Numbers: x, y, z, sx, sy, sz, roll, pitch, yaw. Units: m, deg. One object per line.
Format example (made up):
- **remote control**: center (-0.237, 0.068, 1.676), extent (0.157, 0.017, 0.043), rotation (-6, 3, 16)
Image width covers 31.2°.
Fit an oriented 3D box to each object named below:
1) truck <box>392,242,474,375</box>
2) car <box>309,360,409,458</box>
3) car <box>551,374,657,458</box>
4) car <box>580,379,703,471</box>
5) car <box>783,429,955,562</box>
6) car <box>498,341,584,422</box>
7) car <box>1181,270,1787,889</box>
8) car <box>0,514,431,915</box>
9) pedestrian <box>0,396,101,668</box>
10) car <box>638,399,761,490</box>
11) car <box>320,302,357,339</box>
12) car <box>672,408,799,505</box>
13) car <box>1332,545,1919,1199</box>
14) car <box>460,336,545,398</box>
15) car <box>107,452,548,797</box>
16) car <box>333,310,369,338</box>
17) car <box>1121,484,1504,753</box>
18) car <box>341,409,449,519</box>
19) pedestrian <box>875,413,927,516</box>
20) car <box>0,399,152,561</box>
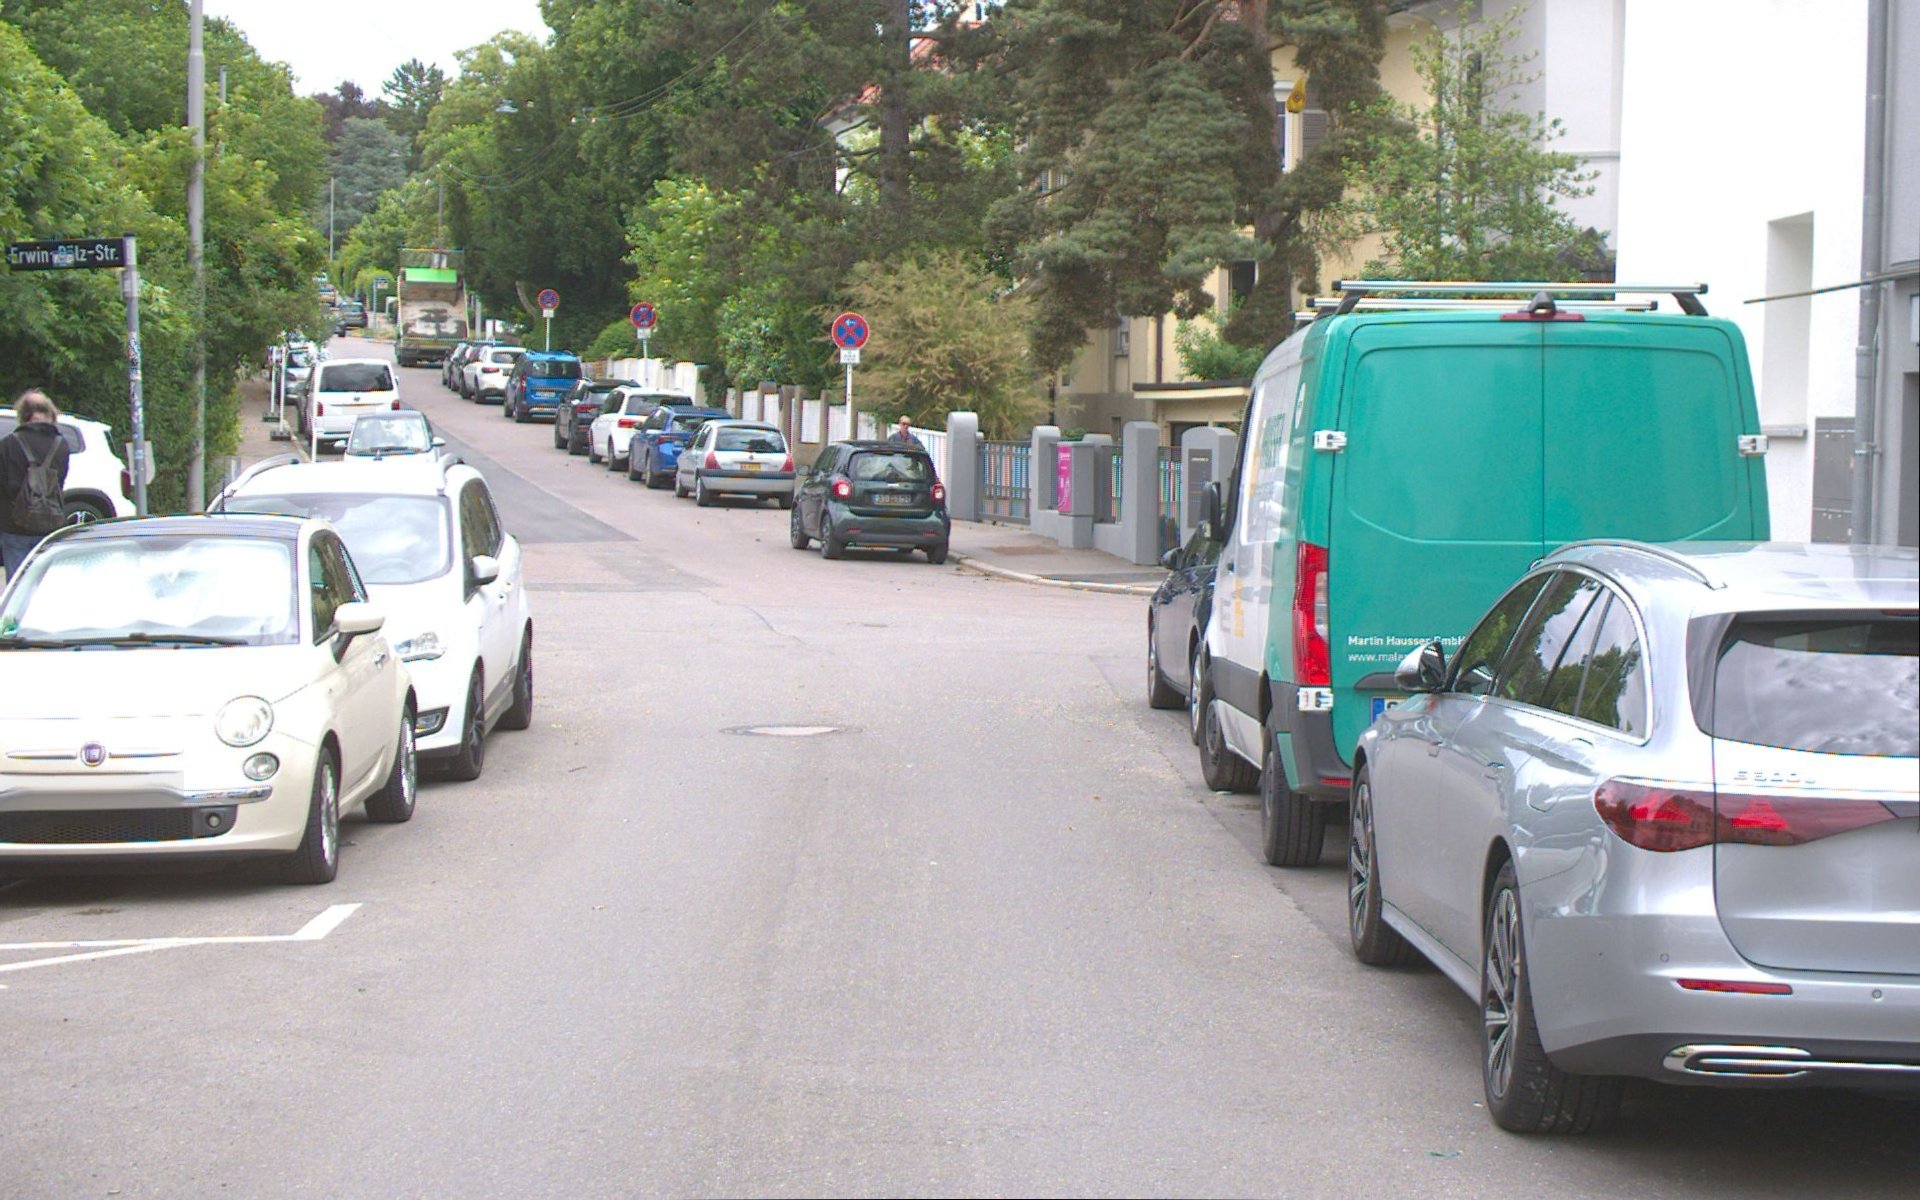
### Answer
- **truck**: center (-19.782, -10.943, 128.872), extent (2.523, 4.731, 7.191), rotation (1, 5, -12)
- **car**: center (-12.898, -4.129, 73.624), extent (1.854, 1.906, 4.622), rotation (-2, 5, -12)
- **car**: center (-7.733, -4.011, 74.458), extent (1.749, 1.602, 4.078), rotation (2, 4, -13)
- **car**: center (-6.407, -3.539, 68.845), extent (1.784, 1.597, 4.307), rotation (2, 5, -14)
- **car**: center (-1.243, -1.405, 45.700), extent (1.571, 1.526, 2.869), rotation (3, 4, -15)
- **car**: center (-10.803, -5.647, 88.530), extent (1.682, 1.822, 4.159), rotation (2, 5, -13)
- **car**: center (2.223, -0.156, 16.136), extent (1.993, 2.414, 5.294), rotation (0, 2, 0)
- **car**: center (-3.361, 0.401, 14.946), extent (1.607, 1.448, 3.614), rotation (-2, 2, -1)
- **pedestrian**: center (-6.210, -0.466, 22.884), extent (0.820, 1.753, 0.644), rotation (2, 3, -7)
- **car**: center (-4.759, -2.851, 62.388), extent (1.647, 1.453, 4.054), rotation (2, 4, -12)
- **car**: center (-31.261, -14.062, 172.813), extent (1.633, 1.695, 3.496), rotation (1, 6, -13)
- **car**: center (-3.804, -2.429, 57.784), extent (1.573, 1.395, 3.657), rotation (2, 5, -12)
- **car**: center (2.221, 0.615, 9.635), extent (1.824, 1.440, 4.383), rotation (2, 1, 0)
- **car**: center (-13.200, -6.723, 99.006), extent (1.757, 1.600, 4.578), rotation (1, 5, -16)
- **car**: center (-3.414, 0.037, 19.297), extent (1.804, 1.653, 4.152), rotation (0, 3, -2)
- **car**: center (-34.870, -15.793, 196.783), extent (1.778, 1.483, 4.002), rotation (0, 5, -13)
- **car**: center (2.169, 0.040, 22.306), extent (1.818, 1.480, 4.288), rotation (1, 3, -3)
- **car**: center (-8.954, -2.178, 54.633), extent (1.442, 1.546, 2.771), rotation (-2, 5, -5)
- **pedestrian**: center (-0.914, -2.103, 53.180), extent (0.681, 1.571, 0.907), rotation (-2, 3, -6)
- **car**: center (-10.870, -1.309, 35.778), extent (1.833, 1.649, 4.503), rotation (5, 4, 41)
